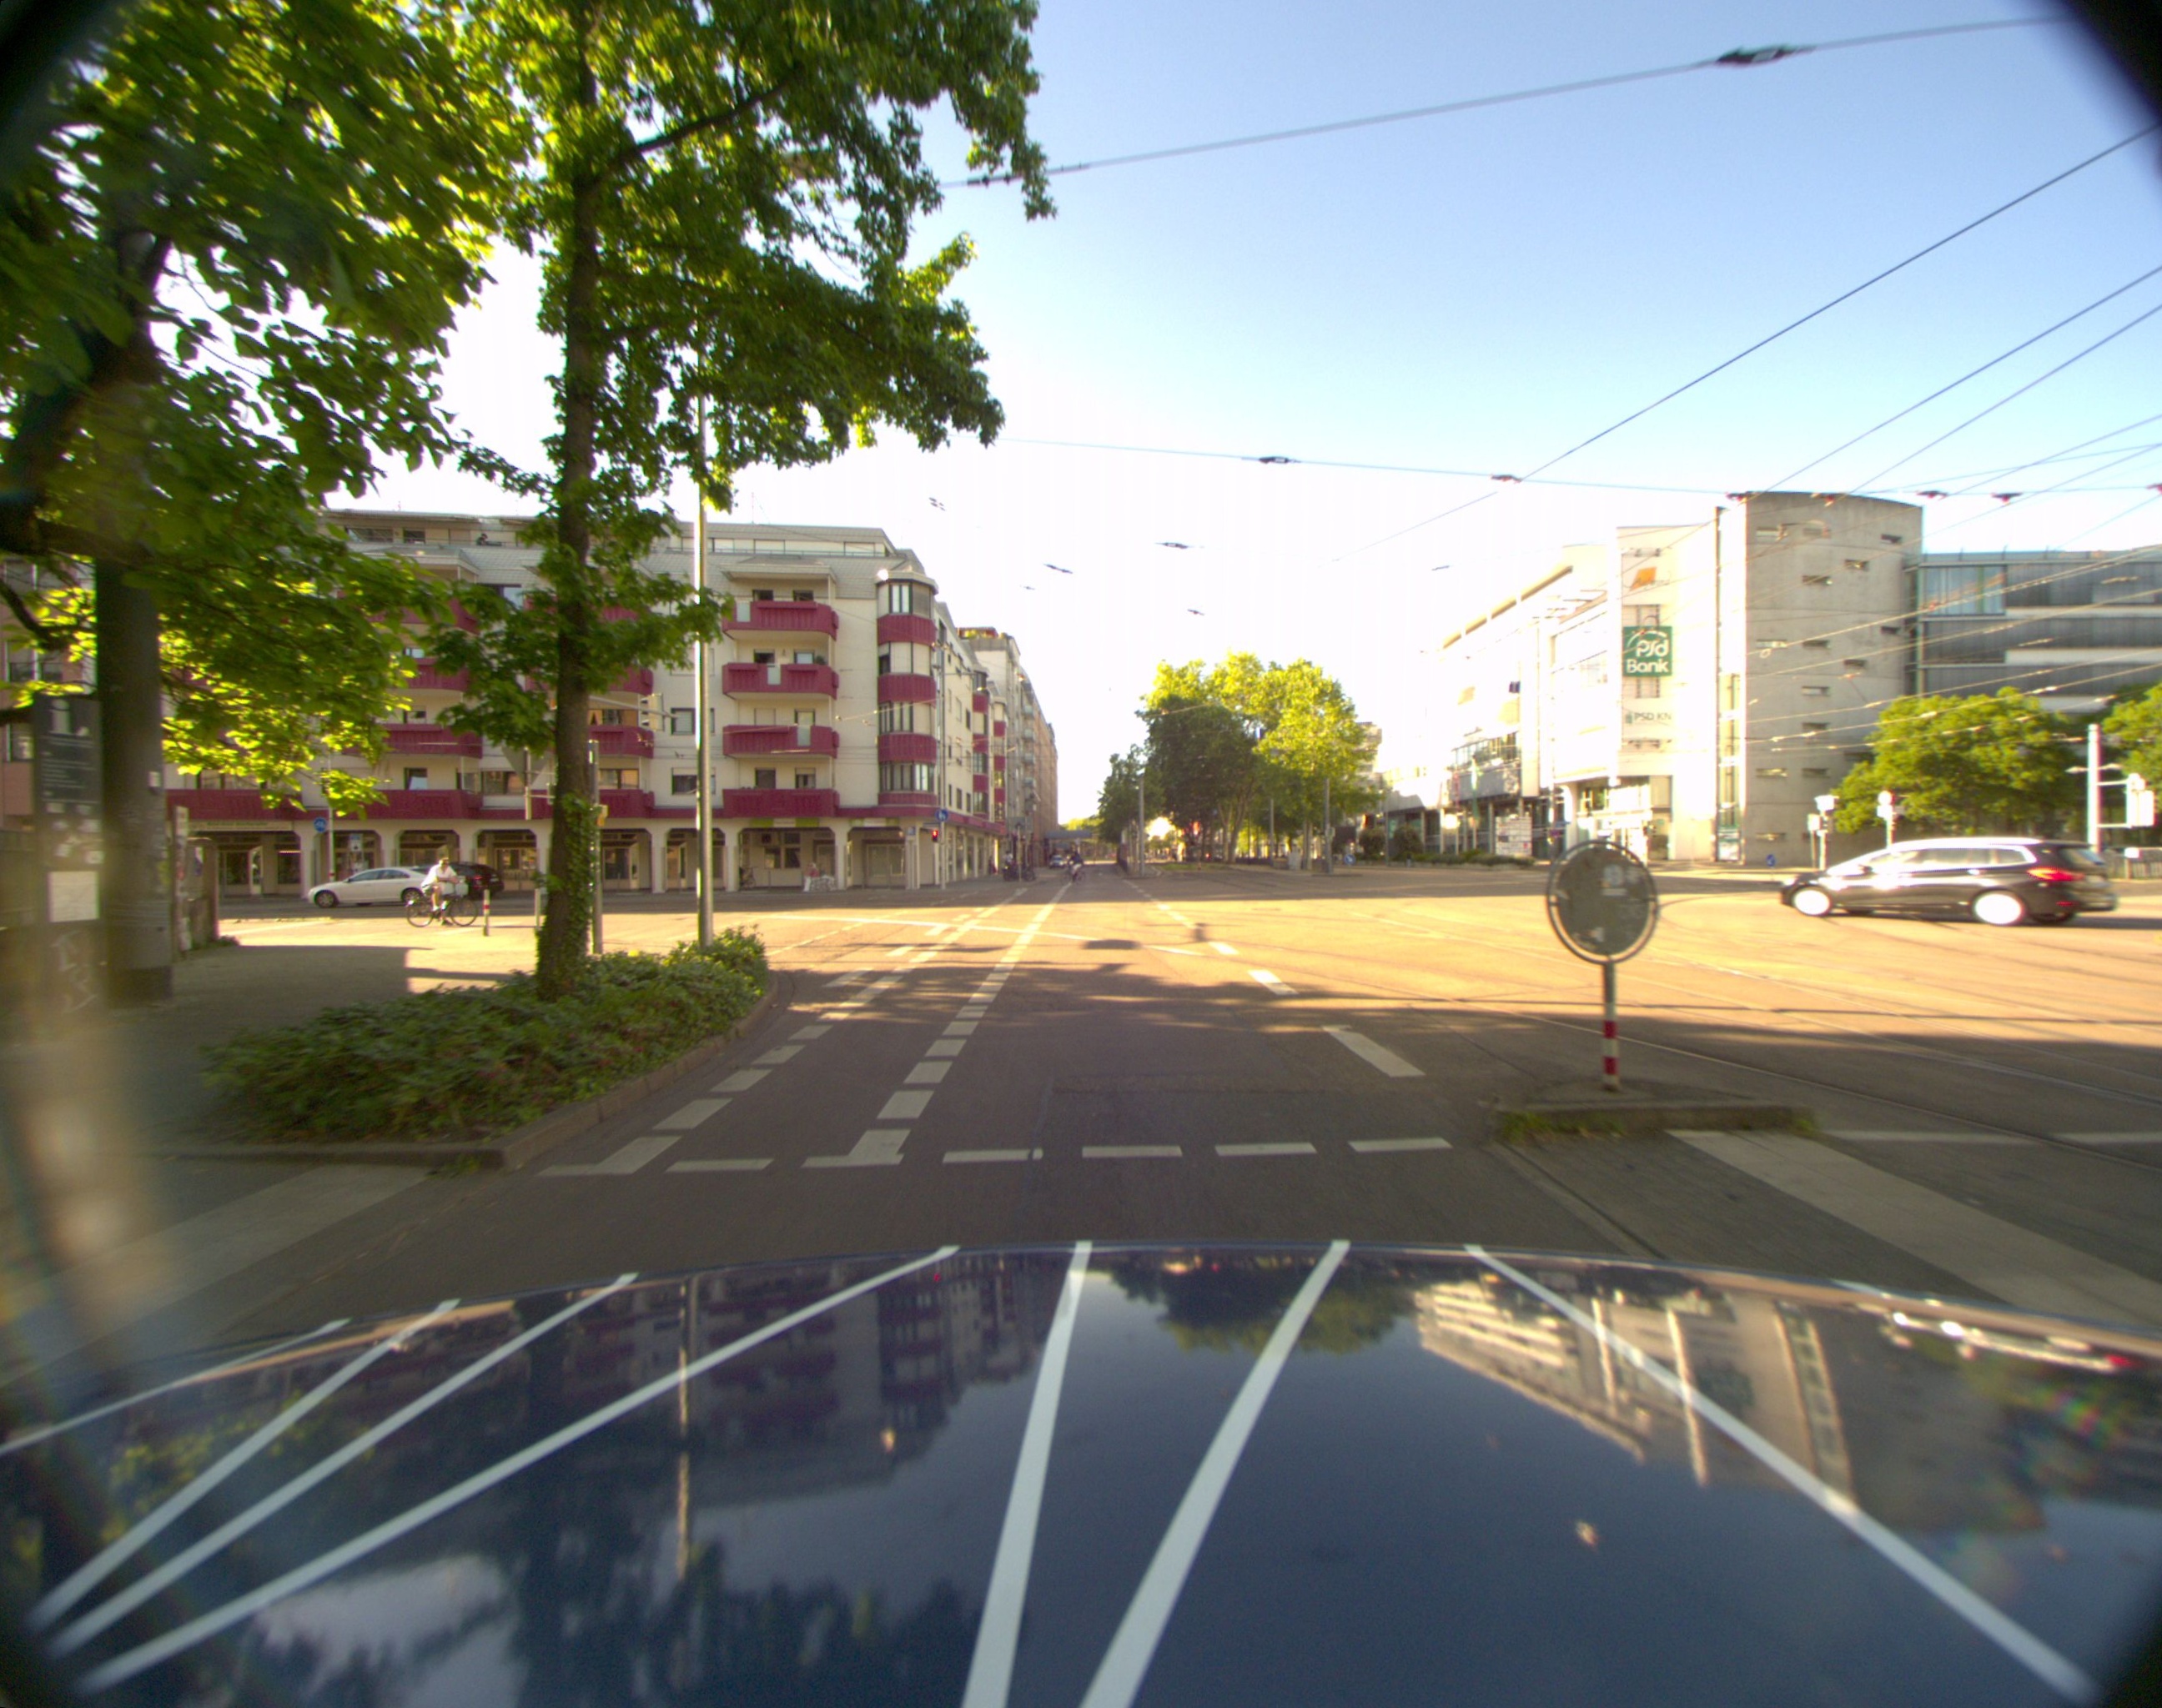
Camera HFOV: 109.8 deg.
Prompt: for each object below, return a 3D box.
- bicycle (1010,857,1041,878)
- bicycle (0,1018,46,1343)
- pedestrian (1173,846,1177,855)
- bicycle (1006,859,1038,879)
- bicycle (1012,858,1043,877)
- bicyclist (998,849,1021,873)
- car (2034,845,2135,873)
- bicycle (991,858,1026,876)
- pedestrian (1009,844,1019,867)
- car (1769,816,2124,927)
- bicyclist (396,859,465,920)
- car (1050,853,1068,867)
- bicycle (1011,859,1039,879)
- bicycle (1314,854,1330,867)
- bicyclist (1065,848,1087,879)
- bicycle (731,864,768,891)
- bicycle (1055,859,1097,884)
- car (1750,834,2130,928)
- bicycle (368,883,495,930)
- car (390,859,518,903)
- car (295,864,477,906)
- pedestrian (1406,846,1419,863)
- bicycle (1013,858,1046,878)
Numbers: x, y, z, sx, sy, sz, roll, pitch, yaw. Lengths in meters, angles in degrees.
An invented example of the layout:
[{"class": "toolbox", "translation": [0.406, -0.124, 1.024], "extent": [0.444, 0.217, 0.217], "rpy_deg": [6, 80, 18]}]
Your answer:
[{"class": "bicycle", "translation": [-3.385, 0.815, 46.249], "extent": [1.835, 1.214, 0.496], "rpy_deg": [0, 1, 5]}, {"class": "bicycle", "translation": [-4.493, 1.130, 2.040], "extent": [1.953, 1.064, 0.640], "rpy_deg": [-1, 1, -23]}, {"class": "pedestrian", "translation": [18.714, -0.730, 150.881], "extent": [0.656, 1.744, 0.676], "rpy_deg": [-1, 1, -6]}, {"class": "bicycle", "translation": [-3.498, 0.879, 44.946], "extent": [1.805, 1.193, 0.546], "rpy_deg": [0, 2, 6]}, {"class": "bicycle", "translation": [-3.363, 0.855, 47.760], "extent": [1.945, 1.163, 0.572], "rpy_deg": [0, 1, -1]}, {"class": "bicyclist", "translation": [-4.711, 0.458, 50.306], "extent": [1.057, 1.531, 1.081], "rpy_deg": [0, 1, 30]}, {"class": "car", "translation": [62.502, 0.293, 47.376], "extent": [3.950, 1.644, 1.735], "rpy_deg": [-1, 1, 1]}, {"class": "bicycle", "translation": [-4.762, 0.836, 50.216], "extent": [0.961, 1.176, 2.603], "rpy_deg": [0, 1, 30]}, {"class": "pedestrian", "translation": [-5.345, 0.109, 60.767], "extent": [0.724, 1.847, 0.801], "rpy_deg": [0, 1, 1]}, {"class": "car", "translation": [17.398, 0.302, 15.596], "extent": [2.002, 1.936, 4.415], "rpy_deg": [-1, 0, -25]}, {"class": "bicyclist", "translation": [-16.459, 0.878, 19.258], "extent": [0.928, 1.500, 1.011], "rpy_deg": [-1, 0, -9]}, {"class": "car", "translation": [-2.681, 0.739, 92.768], "extent": [1.837, 1.613, 4.285], "rpy_deg": [2, 1, 3]}, {"class": "bicycle", "translation": [-3.357, 0.885, 45.679], "extent": [1.626, 1.192, 0.496], "rpy_deg": [0, 1, 6]}, {"class": "bicycle", "translation": [17.782, 0.451, 56.131], "extent": [0.814, 0.940, 1.727], "rpy_deg": [0, 0, 8]}, {"class": "bicyclist", "translation": [-0.246, 0.466, 38.200], "extent": [0.883, 1.485, 0.721], "rpy_deg": [-1, 1, -29]}, {"class": "bicycle", "translation": [-15.592, 1.086, 35.698], "extent": [1.793, 1.192, 0.617], "rpy_deg": [1, 1, 29]}, {"class": "bicycle", "translation": [-0.249, 0.864, 38.185], "extent": [2.046, 1.182, 0.589], "rpy_deg": [-1, 1, -29]}, {"class": "car", "translation": [17.123, 0.456, 15.578], "extent": [2.002, 1.607, 4.747], "rpy_deg": [0, 0, -19]}, {"class": "bicycle", "translation": [-16.421, 1.313, 19.272], "extent": [2.331, 1.112, 0.845], "rpy_deg": [-1, 0, -9]}, {"class": "car", "translation": [-26.654, 1.117, 32.393], "extent": [3.905, 1.674, 1.738], "rpy_deg": [-2, 1, 0]}, {"class": "car", "translation": [-26.085, 1.126, 28.666], "extent": [4.899, 1.447, 1.854], "rpy_deg": [-1, 0, -6]}, {"class": "pedestrian", "translation": [32.806, 0.044, 75.224], "extent": [0.908, 1.583, 0.767], "rpy_deg": [0, 1, 1]}, {"class": "bicycle", "translation": [-3.188, 0.844, 47.129], "extent": [1.982, 1.192, 0.591], "rpy_deg": [0, 1, -2]}]
